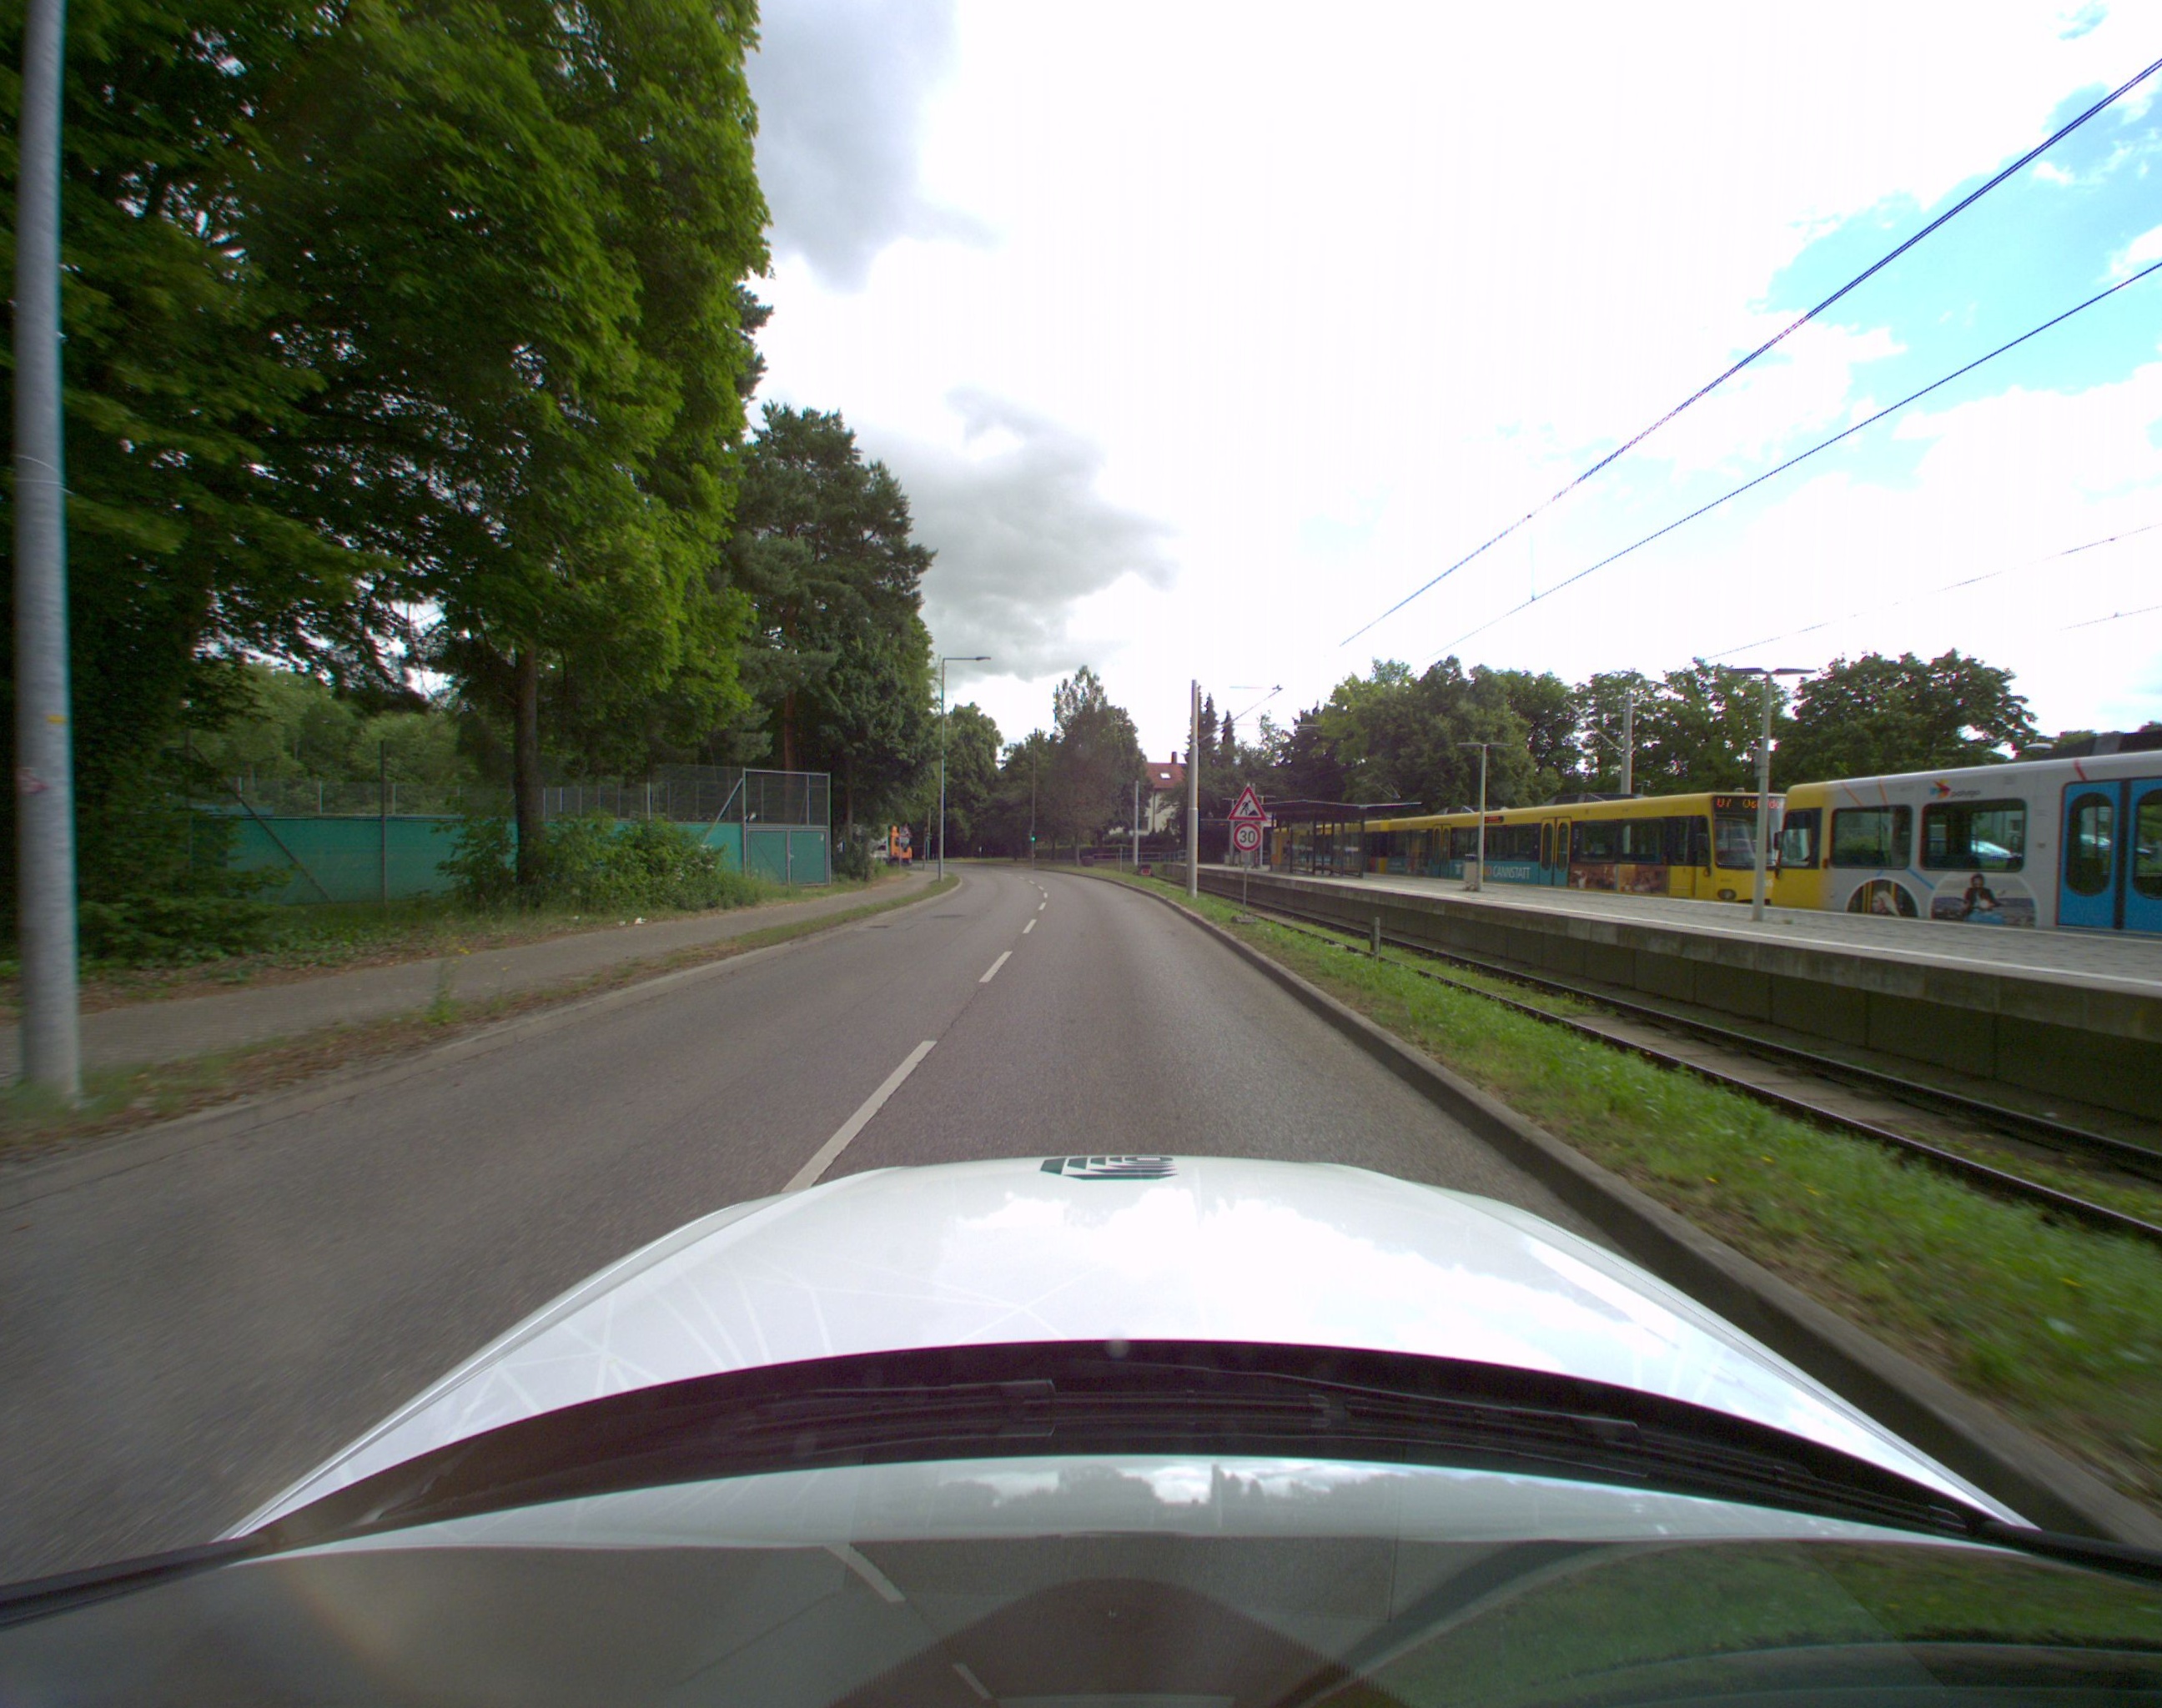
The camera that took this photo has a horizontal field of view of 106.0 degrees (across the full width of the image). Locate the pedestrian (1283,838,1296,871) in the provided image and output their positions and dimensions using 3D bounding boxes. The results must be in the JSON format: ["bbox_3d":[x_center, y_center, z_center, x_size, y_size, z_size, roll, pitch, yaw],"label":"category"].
[{"bbox_3d":[10.031,0.041,39.183,0.618,1.573,0.668,0,0,15],"label":"pedestrian"}]

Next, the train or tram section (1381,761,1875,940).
[{"bbox_3d":[15.223,-0.205,27.049,2.805,3.736,19.503,2,1,-1],"label":"train or tram section"}]

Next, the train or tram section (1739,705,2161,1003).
[{"bbox_3d":[15.119,0.067,7.763,2.803,3.798,18.941,2,1,2],"label":"train or tram section"}]

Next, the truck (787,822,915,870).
[{"bbox_3d":[-17.461,-0.551,62.214,9.251,3.531,2.551,0,-1,-17],"label":"truck"}]

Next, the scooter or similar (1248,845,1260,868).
[{"bbox_3d":[9.567,0.139,44.980,0.367,1.242,1.145,0,1,-3],"label":"scooter or similar"}]

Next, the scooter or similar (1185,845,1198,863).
[{"bbox_3d":[7.737,-0.010,57.217,0.430,1.253,1.248,0,-1,-14],"label":"scooter or similar"}]

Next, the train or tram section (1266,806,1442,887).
[{"bbox_3d":[14.569,-0.473,46.657,2.806,3.588,19.499,2,1,-2],"label":"train or tram section"}]
